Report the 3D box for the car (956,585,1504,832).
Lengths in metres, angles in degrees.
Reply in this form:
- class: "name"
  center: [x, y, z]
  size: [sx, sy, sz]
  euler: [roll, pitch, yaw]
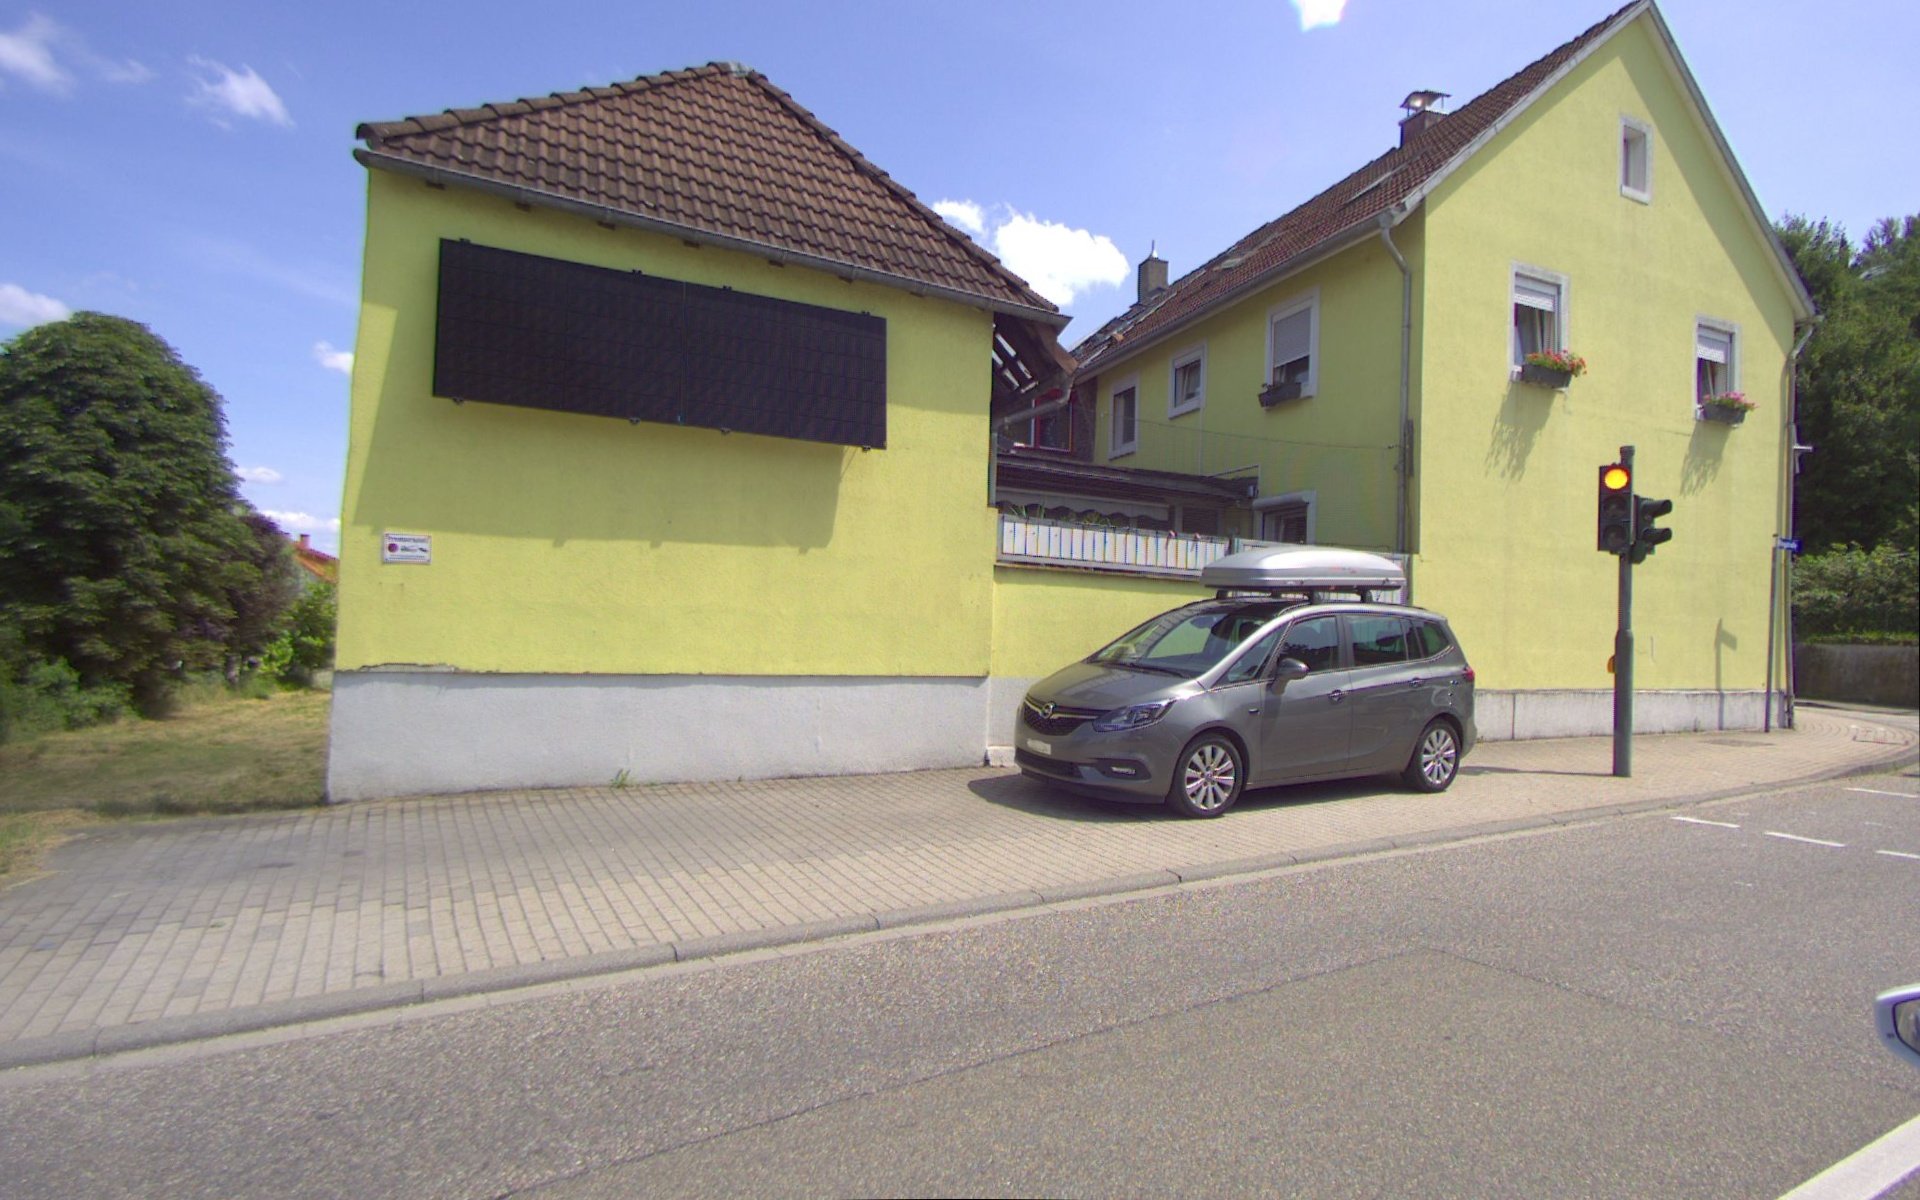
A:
- class: "car"
  center: [2.446, 0.779, 8.818]
  size: [4.575, 1.657, 1.984]
  euler: [2, 1, -30]
